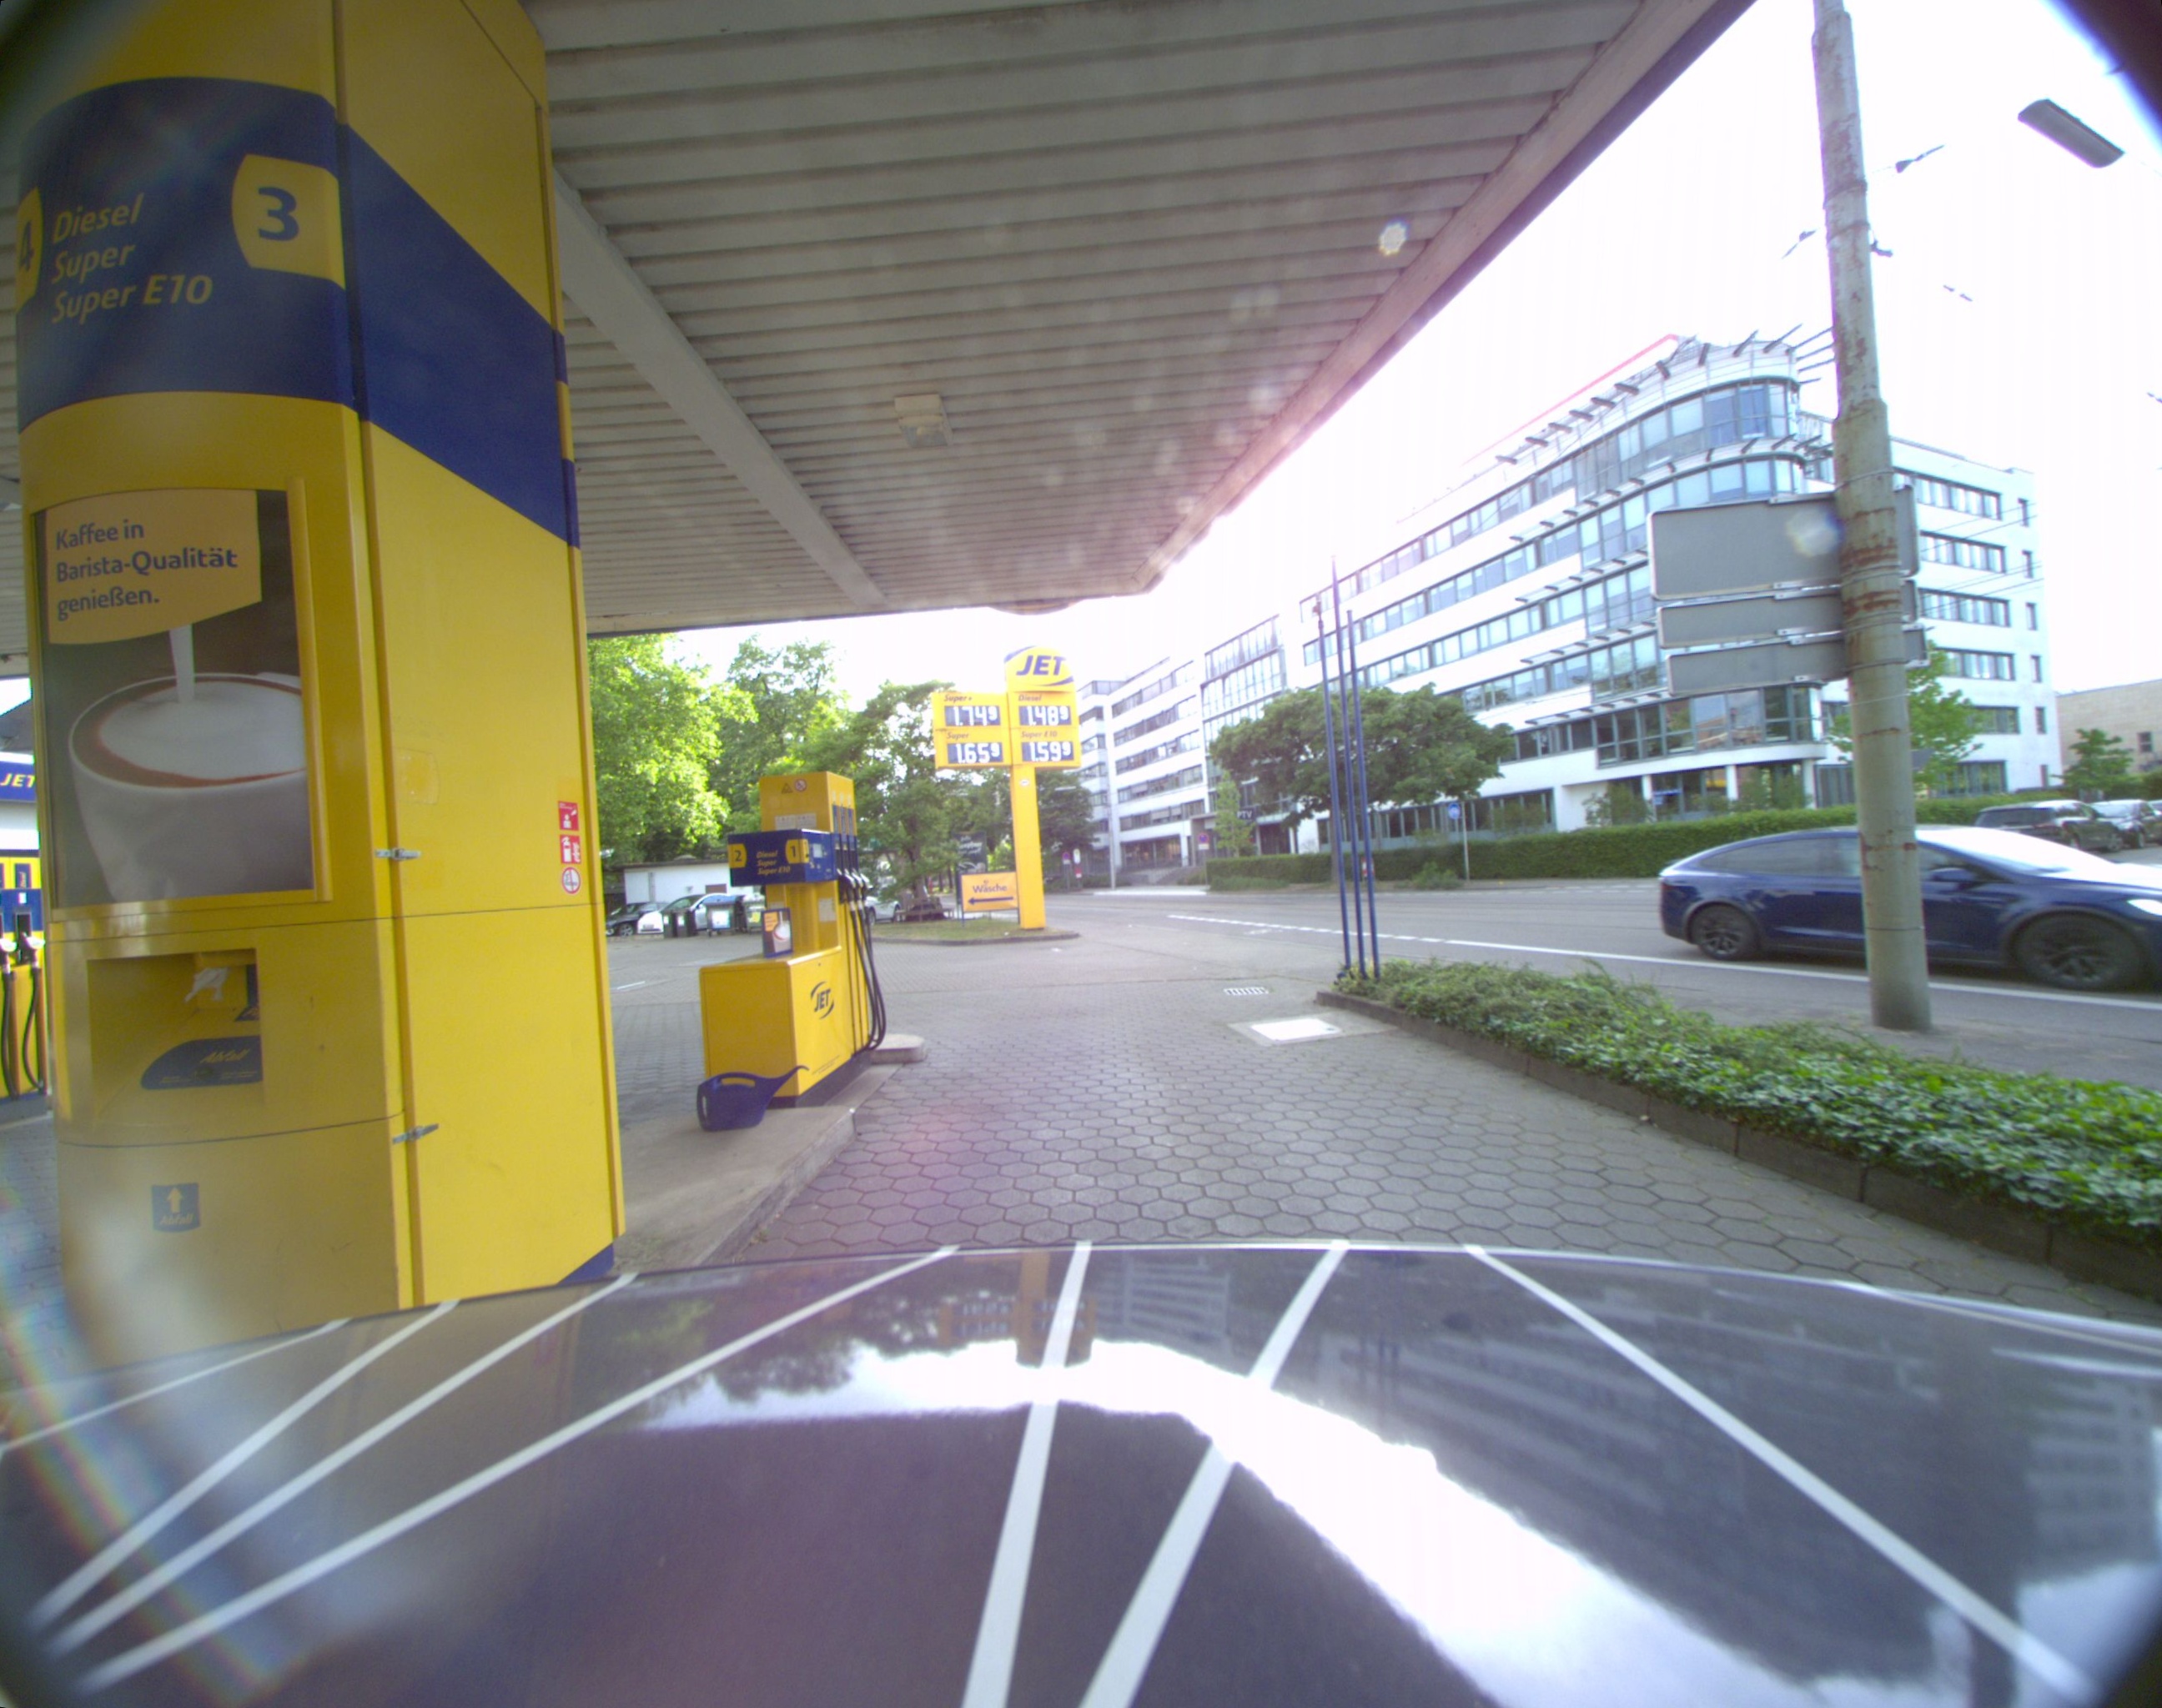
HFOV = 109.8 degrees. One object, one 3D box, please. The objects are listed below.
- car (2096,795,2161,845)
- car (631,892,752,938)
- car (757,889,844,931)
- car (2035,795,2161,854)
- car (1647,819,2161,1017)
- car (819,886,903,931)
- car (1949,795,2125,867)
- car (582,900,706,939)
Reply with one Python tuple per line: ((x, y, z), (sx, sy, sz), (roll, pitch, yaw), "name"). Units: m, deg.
((37.157, -1.241, 26.072), (4.109, 1.544, 1.786), (-4, -1, -23), "car")
((-15.354, 2.385, 30.249), (1.785, 1.514, 4.229), (-4, -3, 17), "car")
((-11.795, 2.323, 32.237), (1.739, 1.500, 4.004), (-4, -2, 6), "car")
((32.497, -0.945, 24.034), (4.109, 1.544, 1.786), (-4, -1, -23), "car")
((9.643, 0.591, 8.717), (1.771, 1.647, 4.845), (-5, 0, -17), "car")
((-8.680, 2.117, 30.375), (1.739, 1.500, 4.003), (-4, -2, 6), "car")
((27.382, -0.652, 21.763), (4.438, 1.603, 1.976), (-5, -1, -23), "car")
((-17.739, 2.634, 31.065), (1.745, 1.269, 4.230), (-5, -3, 19), "car")
